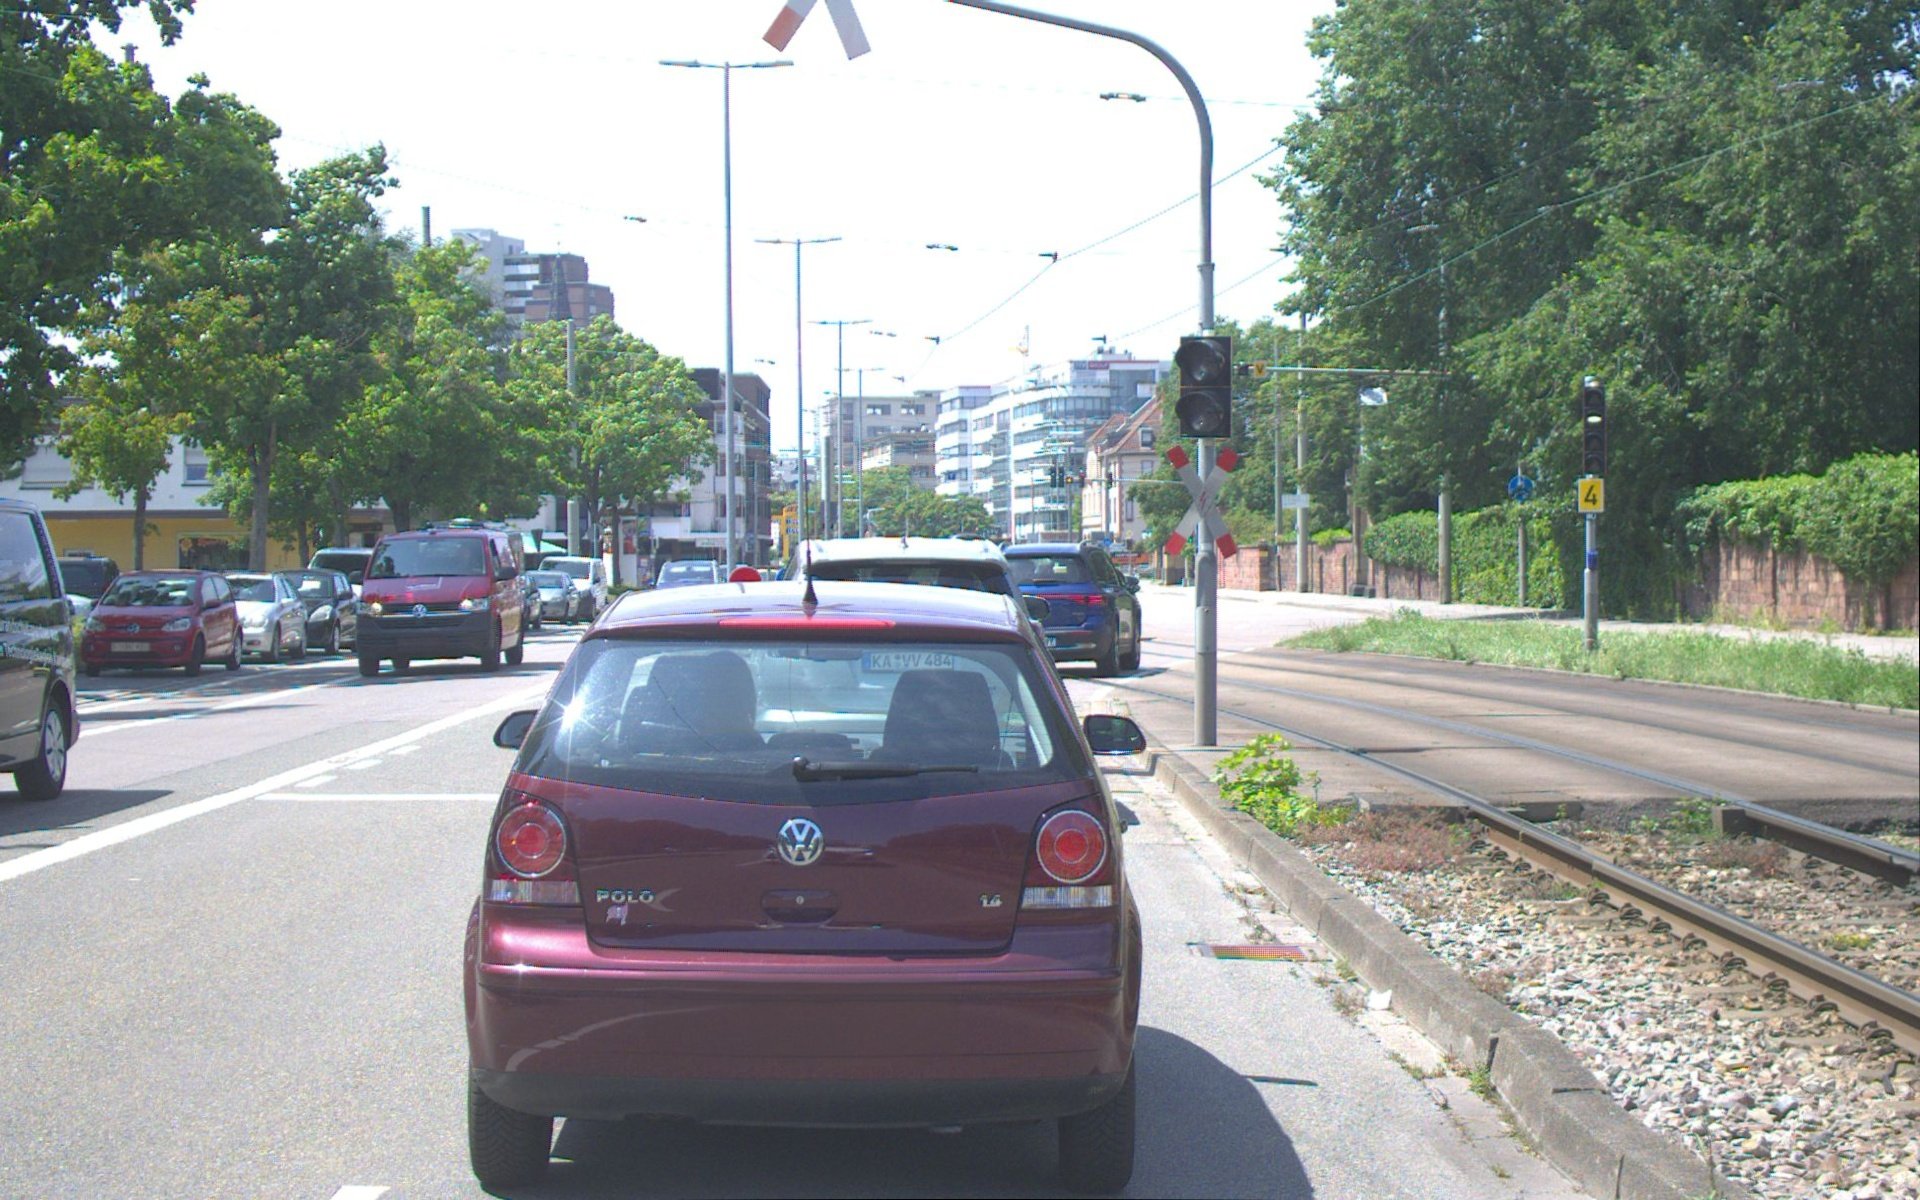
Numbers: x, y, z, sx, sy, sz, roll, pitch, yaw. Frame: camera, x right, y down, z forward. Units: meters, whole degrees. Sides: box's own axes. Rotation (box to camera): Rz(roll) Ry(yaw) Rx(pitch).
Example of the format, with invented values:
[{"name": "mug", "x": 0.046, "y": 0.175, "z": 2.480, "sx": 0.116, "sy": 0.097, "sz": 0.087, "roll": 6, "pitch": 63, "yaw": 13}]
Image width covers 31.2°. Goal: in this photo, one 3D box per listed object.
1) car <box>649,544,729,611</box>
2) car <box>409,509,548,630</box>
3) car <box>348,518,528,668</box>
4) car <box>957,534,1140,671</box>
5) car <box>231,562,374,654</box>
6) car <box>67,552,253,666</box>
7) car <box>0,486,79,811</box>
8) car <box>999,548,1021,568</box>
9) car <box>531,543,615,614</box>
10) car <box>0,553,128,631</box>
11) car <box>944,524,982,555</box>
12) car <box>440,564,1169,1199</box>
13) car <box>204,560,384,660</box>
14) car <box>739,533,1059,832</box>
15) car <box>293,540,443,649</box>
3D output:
[{"name": "car", "x": -6.927, "y": -0.589, "z": 88.136, "sx": 1.737, "sy": 1.651, "sz": 4.067, "roll": -2, "pitch": 1, "yaw": -1}, {"name": "car", "x": -11.447, "y": -0.743, "z": 82.146, "sx": 2.398, "sy": 2.647, "sz": 6.173, "roll": 3, "pitch": 1, "yaw": -1}, {"name": "car", "x": -7.209, "y": -0.129, "z": 47.886, "sx": 1.898, "sy": 1.919, "sz": 4.820, "roll": -2, "pitch": 1, "yaw": -2}, {"name": "car", "x": 1.162, "y": 0.006, "z": 43.194, "sx": 1.775, "sy": 1.625, "sz": 3.999, "roll": 1, "pitch": 1, "yaw": 9}, {"name": "car", "x": -11.464, "y": 0.116, "z": 60.165, "sx": 1.614, "sy": 1.479, "sz": 3.784, "roll": 3, "pitch": 1, "yaw": 1}, {"name": "car", "x": -11.351, "y": 0.115, "z": 48.971, "sx": 1.672, "sy": 1.541, "sz": 3.726, "roll": 1, "pitch": 0, "yaw": 2}, {"name": "car", "x": -6.595, "y": 0.316, "z": 19.774, "sx": 1.918, "sy": 1.904, "sz": 4.571, "roll": -2, "pitch": 1, "yaw": -1}, {"name": "car", "x": 3.239, "y": -2.687, "z": 221.280, "sx": 1.354, "sy": 1.248, "sz": 2.972, "roll": 1, "pitch": 1, "yaw": 0}, {"name": "car", "x": -11.426, "y": -0.653, "z": 101.778, "sx": 1.875, "sy": 1.958, "sz": 5.165, "roll": 3, "pitch": 1, "yaw": -1}, {"name": "car", "x": -22.458, "y": -0.191, "z": 82.144, "sx": 4.718, "sy": 1.807, "sz": 1.797, "roll": -1, "pitch": 1, "yaw": -2}, {"name": "car", "x": 0.196, "y": -3.752, "z": 214.787, "sx": 1.918, "sy": 1.904, "sz": 4.572, "roll": -1, "pitch": 1, "yaw": -5}, {"name": "car", "x": -0.452, "y": 0.661, "z": 9.649, "sx": 1.609, "sy": 1.493, "sz": 4.001, "roll": 1, "pitch": 1, "yaw": -3}, {"name": "car", "x": -10.534, "y": 0.129, "z": 54.697, "sx": 1.719, "sy": 1.422, "sz": 4.771, "roll": -3, "pitch": 1, "yaw": 2}, {"name": "car", "x": -0.387, "y": 0.441, "z": 21.477, "sx": 1.795, "sy": 1.677, "sz": 4.000, "roll": 1, "pitch": 1, "yaw": -1}, {"name": "car", "x": -11.383, "y": -0.129, "z": 66.415, "sx": 1.862, "sy": 1.930, "sz": 4.805, "roll": 3, "pitch": 1, "yaw": 1}]
